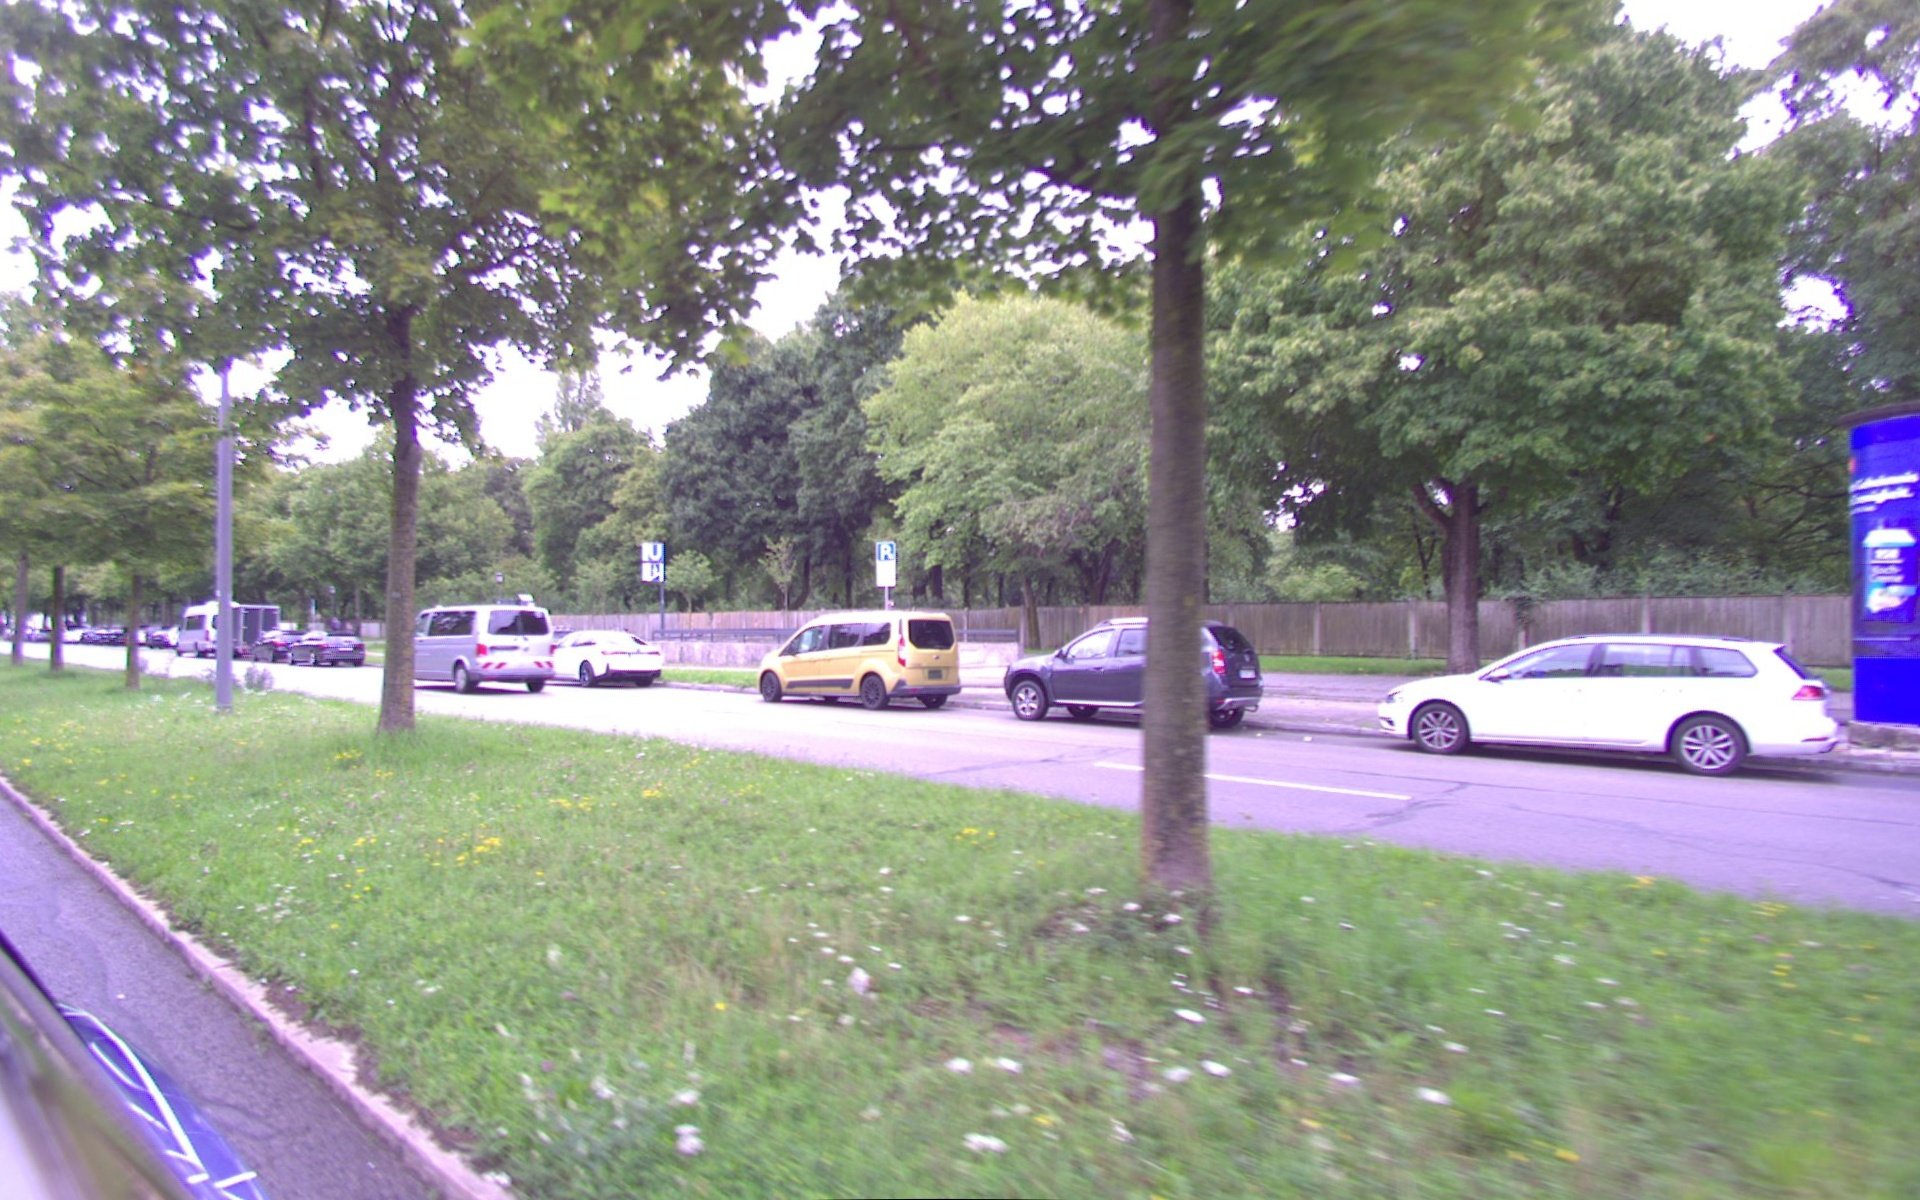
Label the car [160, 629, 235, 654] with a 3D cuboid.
[{"bbox_3d":[-54.064,2.929,71.823,1.780,1.585,4.315,-1,0,7],"label":"car"}]

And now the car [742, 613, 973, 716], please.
[{"bbox_3d":[-2.136,1.220,20.015,4.817,1.796,1.795,-2,-3,42],"label":"car"}]

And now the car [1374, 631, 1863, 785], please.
[{"bbox_3d":[7.441,1.115,11.803,4.530,1.461,1.744,-2,-3,41],"label":"car"}]

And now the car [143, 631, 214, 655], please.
[{"bbox_3d":[-56.628,3.066,73.411,1.780,1.497,3.992,-2,0,7],"label":"car"}]

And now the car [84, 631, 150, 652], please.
[{"bbox_3d":[-70.502,3.465,84.707,1.870,1.569,3.989,-2,0,9],"label":"car"}]

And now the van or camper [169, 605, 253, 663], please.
[{"bbox_3d":[-39.500,1.789,53.276,7.543,2.859,2.013,-2,-3,42],"label":"van or camper"}]

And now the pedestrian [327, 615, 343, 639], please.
[{"bbox_3d":[-47.306,2.056,76.580,0.873,1.781,0.761,-1,-2,38],"label":"pedestrian"}]

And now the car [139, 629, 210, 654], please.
[{"bbox_3d":[-58.661,3.085,75.633,1.783,1.599,3.984,-2,0,12],"label":"car"}]

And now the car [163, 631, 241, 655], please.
[{"bbox_3d":[-51.641,2.922,69.031,1.780,1.449,4.315,-1,0,7],"label":"car"}]

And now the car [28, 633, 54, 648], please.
[{"bbox_3d":[-98.442,4.315,108.382,1.864,1.454,4.171,0,-1,-44],"label":"car"}]

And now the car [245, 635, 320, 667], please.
[{"bbox_3d":[-30.453,2.269,45.443,4.236,1.394,1.781,-2,-3,42],"label":"car"}]

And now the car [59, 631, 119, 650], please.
[{"bbox_3d":[-81.969,3.812,95.276,1.870,1.569,3.989,-2,0,9],"label":"car"}]

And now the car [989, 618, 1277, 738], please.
[{"bbox_3d":[2.650,1.158,16.090,4.253,1.658,1.718,-2,-3,41],"label":"car"}]

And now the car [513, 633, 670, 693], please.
[{"bbox_3d":[-10.003,1.652,27.318,4.872,1.484,1.837,-2,-3,41],"label":"car"}]

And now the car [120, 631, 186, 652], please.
[{"bbox_3d":[-65.411,3.344,82.106,1.723,1.466,3.983,-2,0,13],"label":"car"}]

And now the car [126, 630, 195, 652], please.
[{"bbox_3d":[-63.168,3.199,80.046,1.873,1.474,3.983,-2,0,14],"label":"car"}]

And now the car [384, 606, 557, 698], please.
[{"bbox_3d":[-11.488,1.164,23.592,4.991,1.948,1.781,-1,-3,41],"label":"car"}]

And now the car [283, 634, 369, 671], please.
[{"bbox_3d":[-25.708,2.092,40.985,4.429,1.436,1.781,-2,-3,42],"label":"car"}]

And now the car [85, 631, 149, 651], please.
[{"bbox_3d":[-72.858,3.529,87.569,1.870,1.569,3.989,-2,0,9],"label":"car"}]

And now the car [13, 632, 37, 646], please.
[{"bbox_3d":[-107.368,4.499,116.221,1.864,1.454,4.171,0,-1,-44],"label":"car"}]

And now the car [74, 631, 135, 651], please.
[{"bbox_3d":[-77.606,3.667,91.860,1.870,1.569,3.989,-2,0,9],"label":"car"}]

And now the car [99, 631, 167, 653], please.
[{"bbox_3d":[-68.168,3.420,83.483,1.873,1.569,3.983,-2,0,14],"label":"car"}]

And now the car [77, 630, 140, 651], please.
[{"bbox_3d":[-75.160,3.550,89.383,1.870,1.569,3.989,-2,0,9],"label":"car"}]

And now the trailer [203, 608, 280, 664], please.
[{"bbox_3d":[-34.993,1.774,49.233,4.657,2.610,1.995,-2,-3,42],"label":"trailer"}]

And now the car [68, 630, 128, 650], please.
[{"bbox_3d":[-79.902,3.711,93.899,1.870,1.569,3.989,-2,0,9],"label":"car"}]
